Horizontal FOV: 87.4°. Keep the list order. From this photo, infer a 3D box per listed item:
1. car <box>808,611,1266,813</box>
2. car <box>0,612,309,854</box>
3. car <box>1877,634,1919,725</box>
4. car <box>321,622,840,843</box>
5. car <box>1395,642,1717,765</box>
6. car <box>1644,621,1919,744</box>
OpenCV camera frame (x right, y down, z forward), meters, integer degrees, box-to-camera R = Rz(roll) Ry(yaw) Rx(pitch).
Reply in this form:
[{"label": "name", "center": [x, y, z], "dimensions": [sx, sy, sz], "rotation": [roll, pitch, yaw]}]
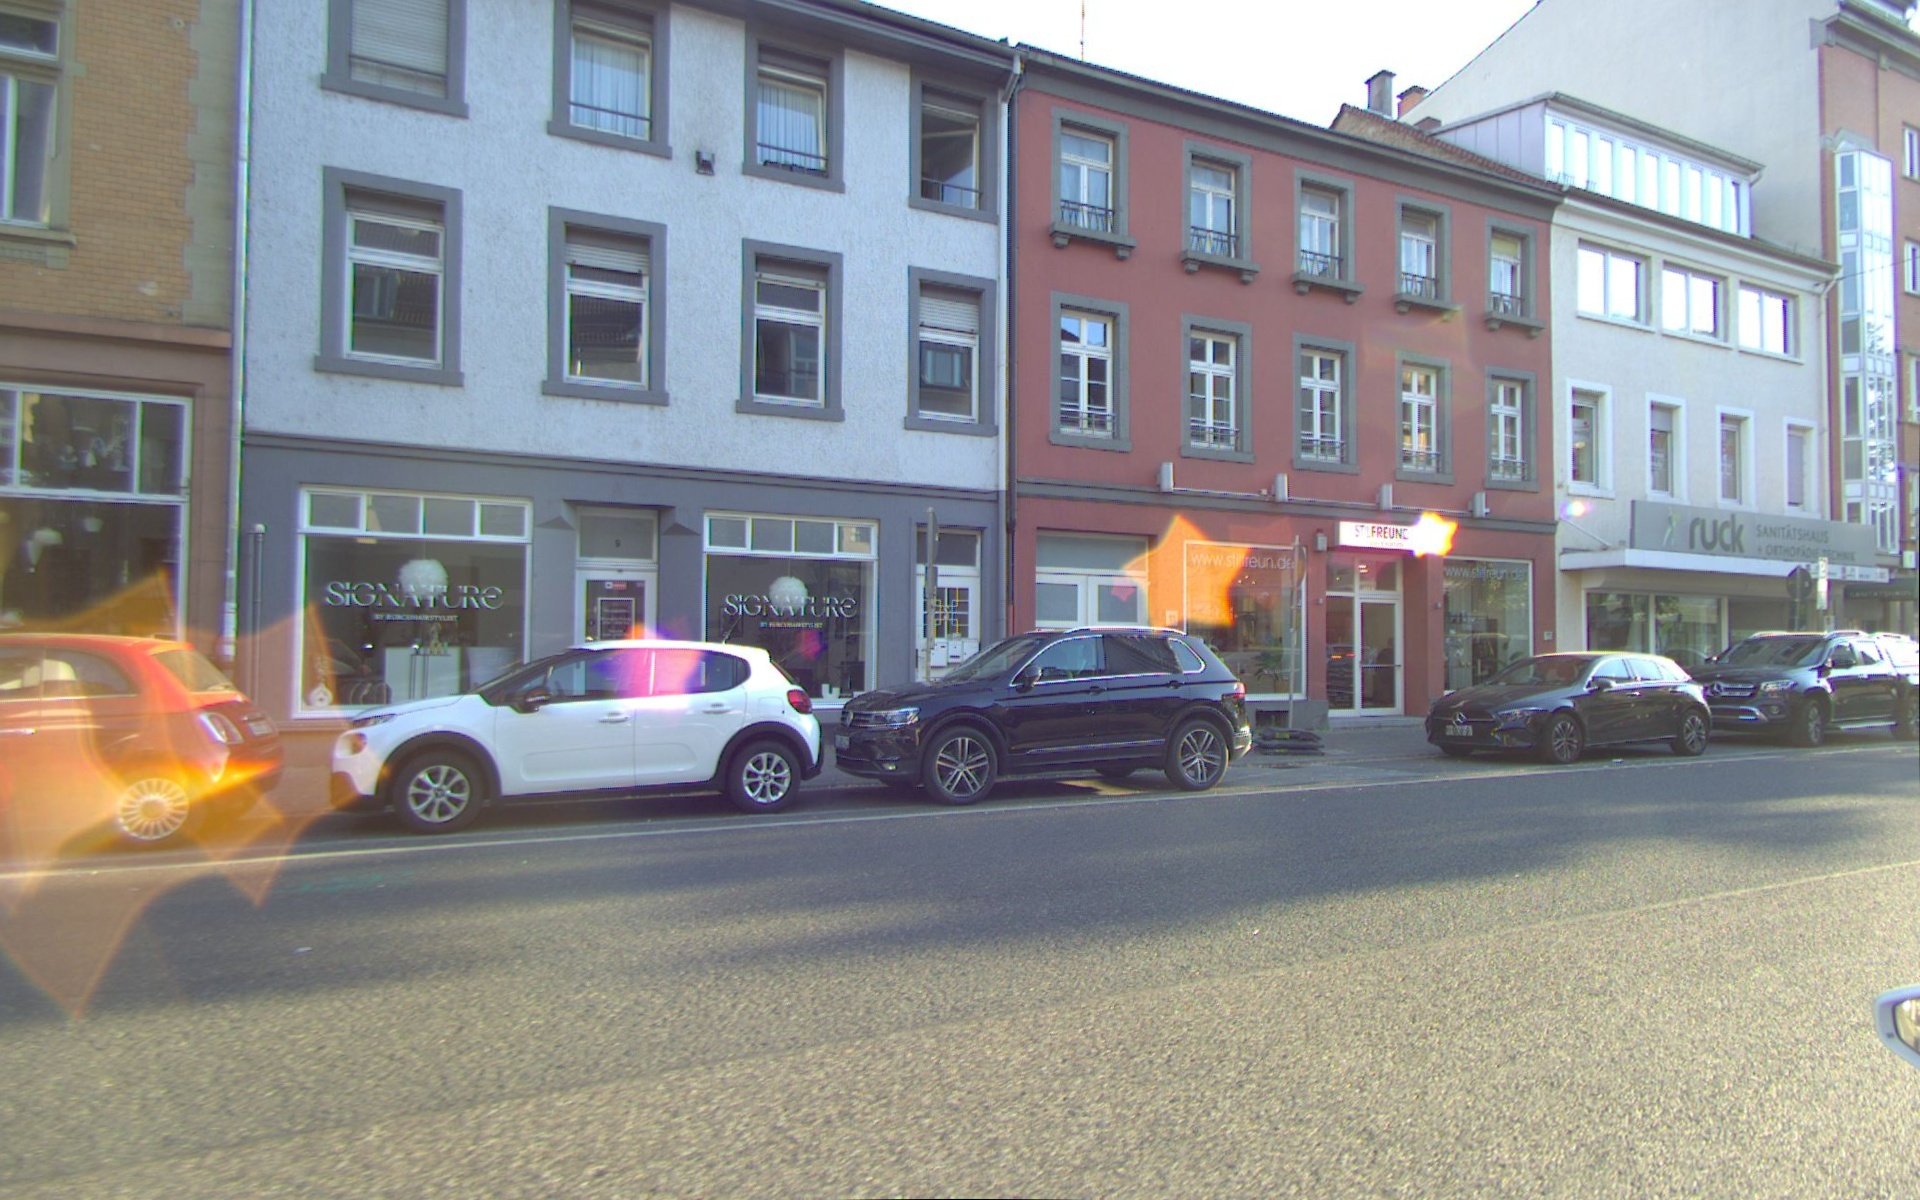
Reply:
[{"label": "car", "center": [0.805, 1.057, 10.336], "dimensions": [4.400, 1.720, 1.790], "rotation": [1, -4, -25]}, {"label": "car", "center": [-6.879, 0.915, 7.247], "dimensions": [3.373, 1.590, 1.523], "rotation": [1, -4, -23]}, {"label": "car", "center": [20.055, 1.503, 19.224], "dimensions": [4.563, 1.676, 1.989], "rotation": [1, -3, -24]}, {"label": "car", "center": [-3.148, 1.045, 8.814], "dimensions": [3.879, 1.593, 1.658], "rotation": [1, -4, -24]}, {"label": "car", "center": [8.371, 1.380, 14.084], "dimensions": [4.351, 1.507, 1.681], "rotation": [1, -5, -25]}, {"label": "car", "center": [14.059, 1.314, 16.810], "dimensions": [5.249, 1.800, 1.987], "rotation": [1, -3, -26]}]
